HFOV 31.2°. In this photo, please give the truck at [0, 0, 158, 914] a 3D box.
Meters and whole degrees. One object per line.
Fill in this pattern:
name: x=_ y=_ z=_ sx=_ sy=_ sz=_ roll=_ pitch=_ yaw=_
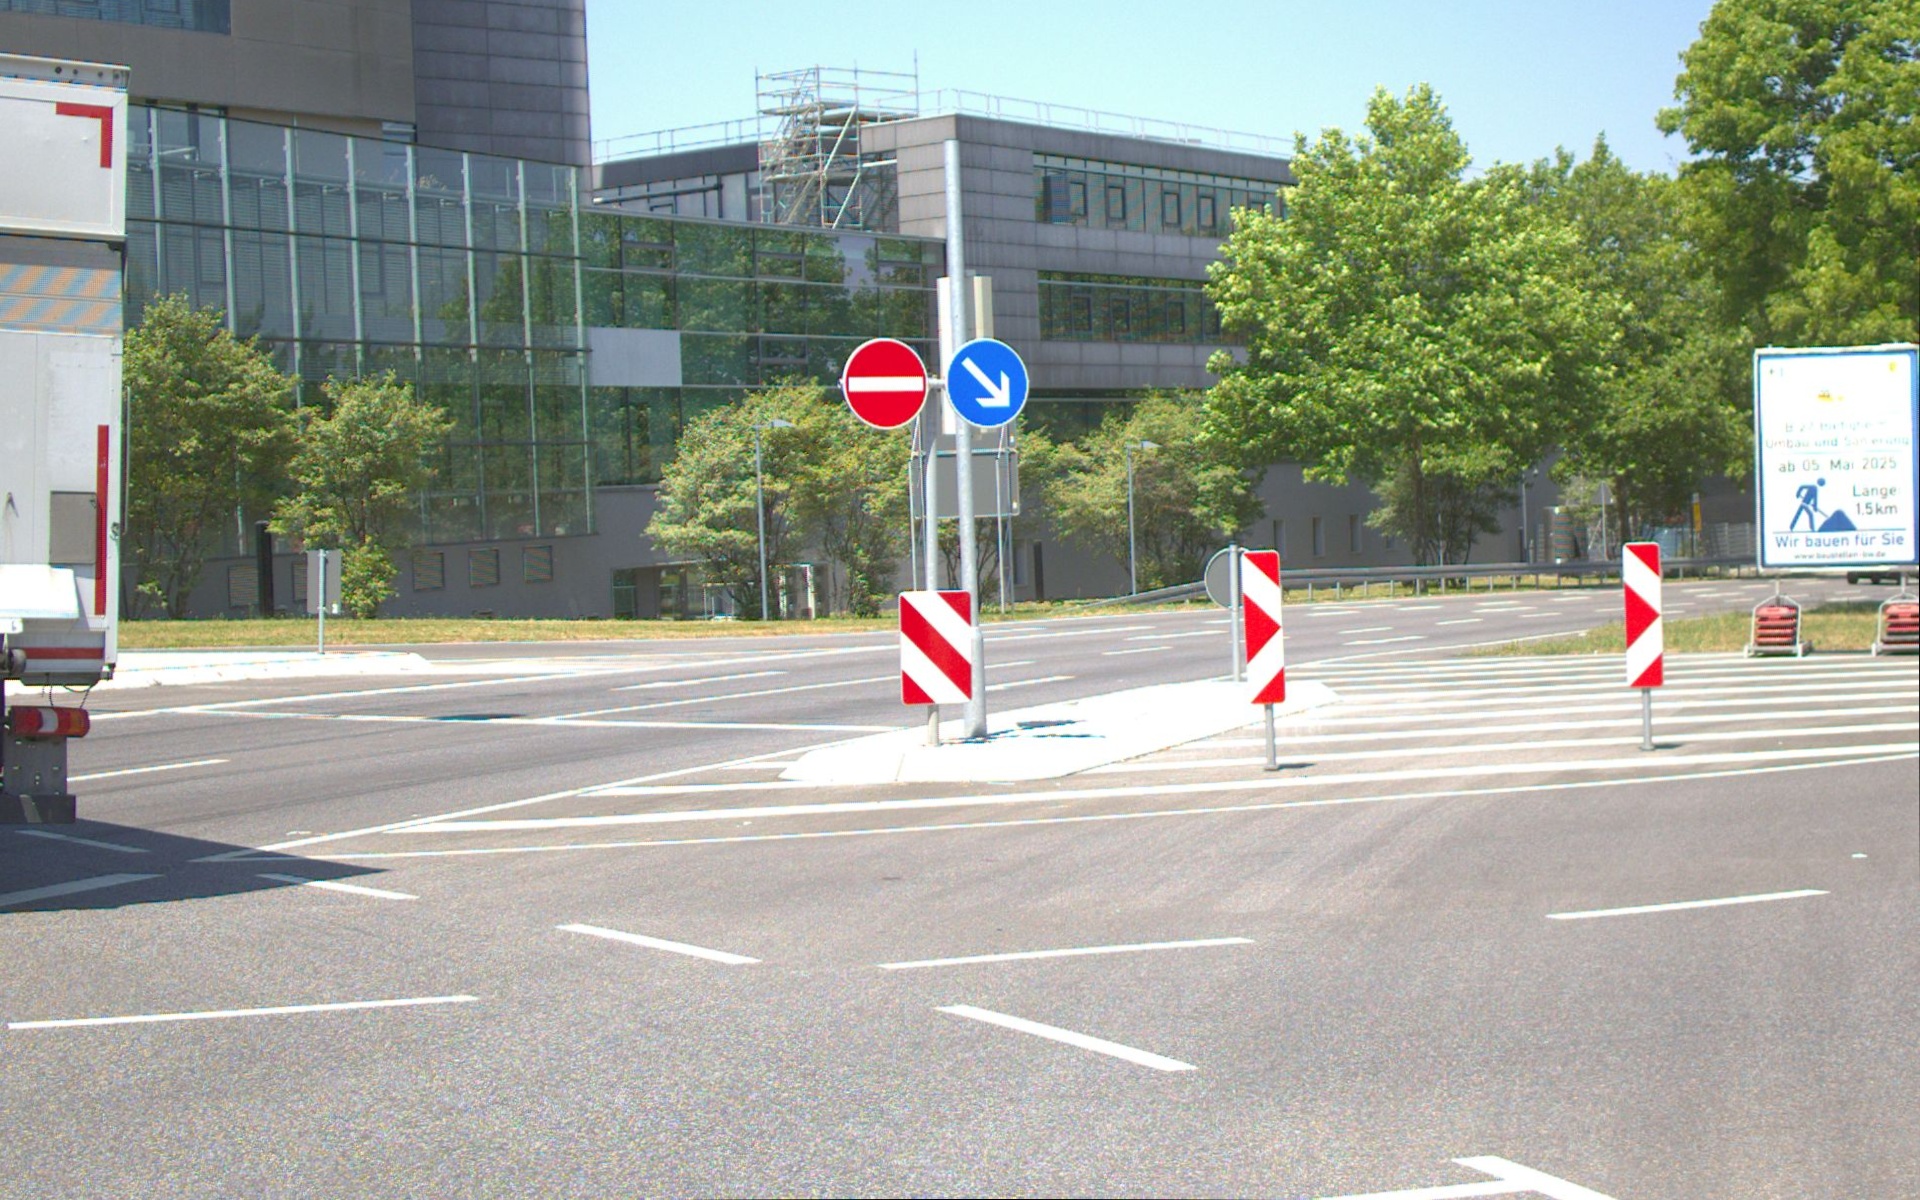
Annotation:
truck: x=-7.182 y=-0.644 z=17.467 sx=2.770 sy=3.846 sz=9.369 roll=0 pitch=0 yaw=-35
